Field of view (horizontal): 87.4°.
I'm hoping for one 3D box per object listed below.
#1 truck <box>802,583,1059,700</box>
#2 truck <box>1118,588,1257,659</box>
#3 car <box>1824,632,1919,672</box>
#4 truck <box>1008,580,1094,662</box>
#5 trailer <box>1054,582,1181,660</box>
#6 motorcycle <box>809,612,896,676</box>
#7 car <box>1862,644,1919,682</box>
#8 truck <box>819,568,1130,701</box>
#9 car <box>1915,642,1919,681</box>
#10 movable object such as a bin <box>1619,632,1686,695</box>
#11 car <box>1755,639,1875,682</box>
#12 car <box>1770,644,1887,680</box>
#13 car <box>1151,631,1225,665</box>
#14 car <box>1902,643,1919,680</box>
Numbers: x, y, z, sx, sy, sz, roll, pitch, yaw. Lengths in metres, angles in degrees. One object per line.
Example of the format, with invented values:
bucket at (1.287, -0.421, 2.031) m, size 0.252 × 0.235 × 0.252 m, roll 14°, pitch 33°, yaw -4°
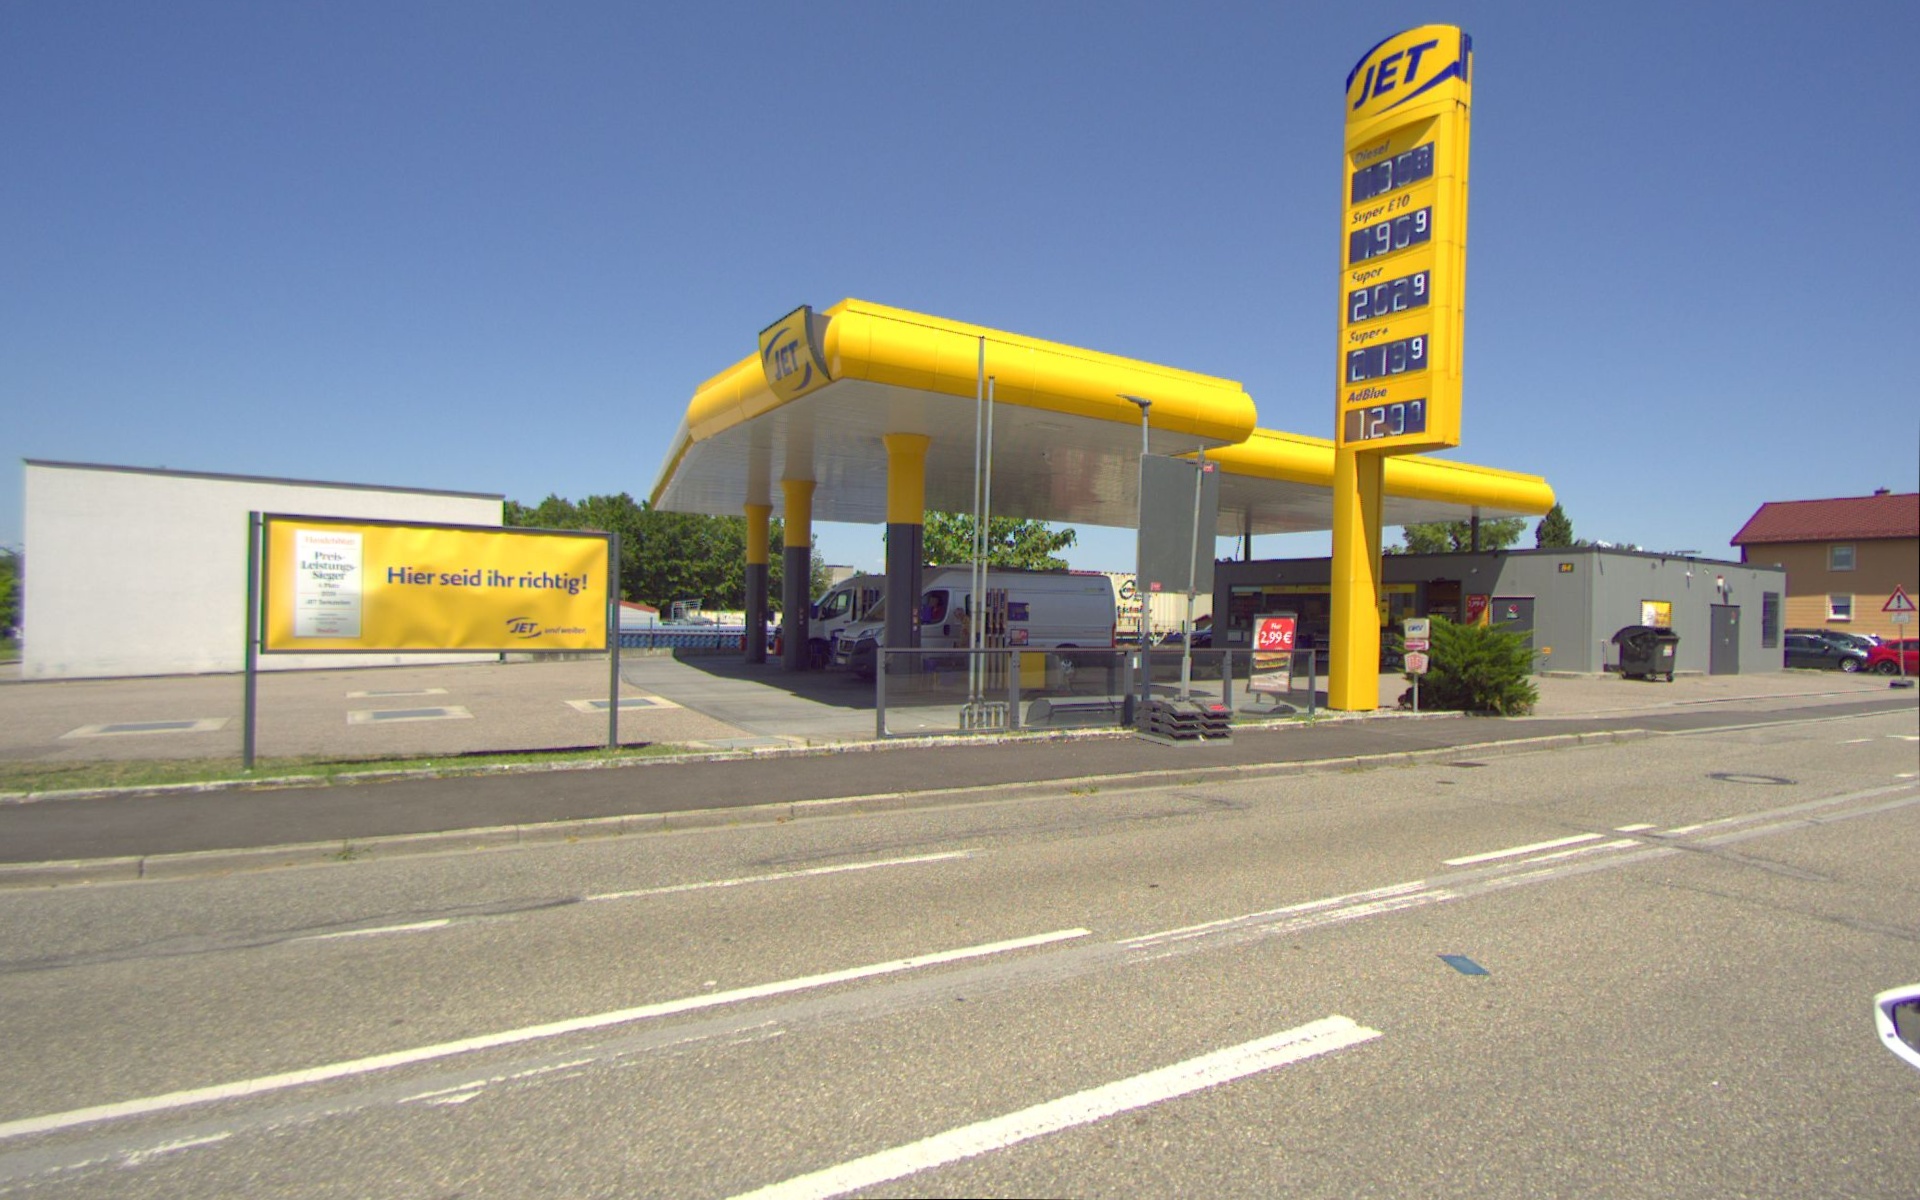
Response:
truck at (-0.867, 1.151, 27.445) m, size 6.616 × 2.951 × 2.641 m, roll 1°, pitch -2°, yaw -13°
truck at (11.840, 1.266, 53.034) m, size 2.133 × 3.471 × 7.822 m, roll 2°, pitch -2°, yaw -34°
car at (43.394, 2.415, 47.387) m, size 1.904 × 1.799 × 3.639 m, roll 2°, pitch -2°, yaw -36°
truck at (3.805, 0.877, 41.938) m, size 3.156 × 3.285 × 1.834 m, roll 0°, pitch -1°, yaw -34°
trailer at (6.966, 0.931, 44.075) m, size 5.851 × 3.262 × 1.854 m, roll 1°, pitch -1°, yaw -34°
motorcycle at (-3.549, 1.456, 33.261) m, size 2.752 × 2.040 × 0.835 m, roll 1°, pitch -2°, yaw -22°
car at (37.985, 2.464, 39.032) m, size 1.808 × 1.463 × 4.100 m, roll 2°, pitch -2°, yaw -34°
truck at (0.403, 0.781, 22.326) m, size 6.644 × 2.632 × 2.226 m, roll 2°, pitch -2°, yaw -26°
car at (42.168, 2.584, 41.512) m, size 1.864 × 1.626 × 3.639 m, roll 2°, pitch -2°, yaw -36°
movable object such as a bin at (18.503, 1.660, 26.840) m, size 1.413 × 1.538 × 0.946 m, roll 0°, pitch 3°, yaw -33°
car at (37.162, 2.590, 43.728) m, size 1.874 × 1.732 × 3.639 m, roll 2°, pitch -2°, yaw -36°
car at (38.728, 2.748, 44.876) m, size 1.874 × 1.476 × 3.639 m, roll 2°, pitch -2°, yaw -36°
car at (9.230, 1.921, 40.566) m, size 2.982 × 1.326 × 1.289 m, roll 2°, pitch -2°, yaw -36°
car at (40.192, 2.478, 39.977) m, size 1.874 × 1.476 × 3.639 m, roll 2°, pitch -2°, yaw -36°
